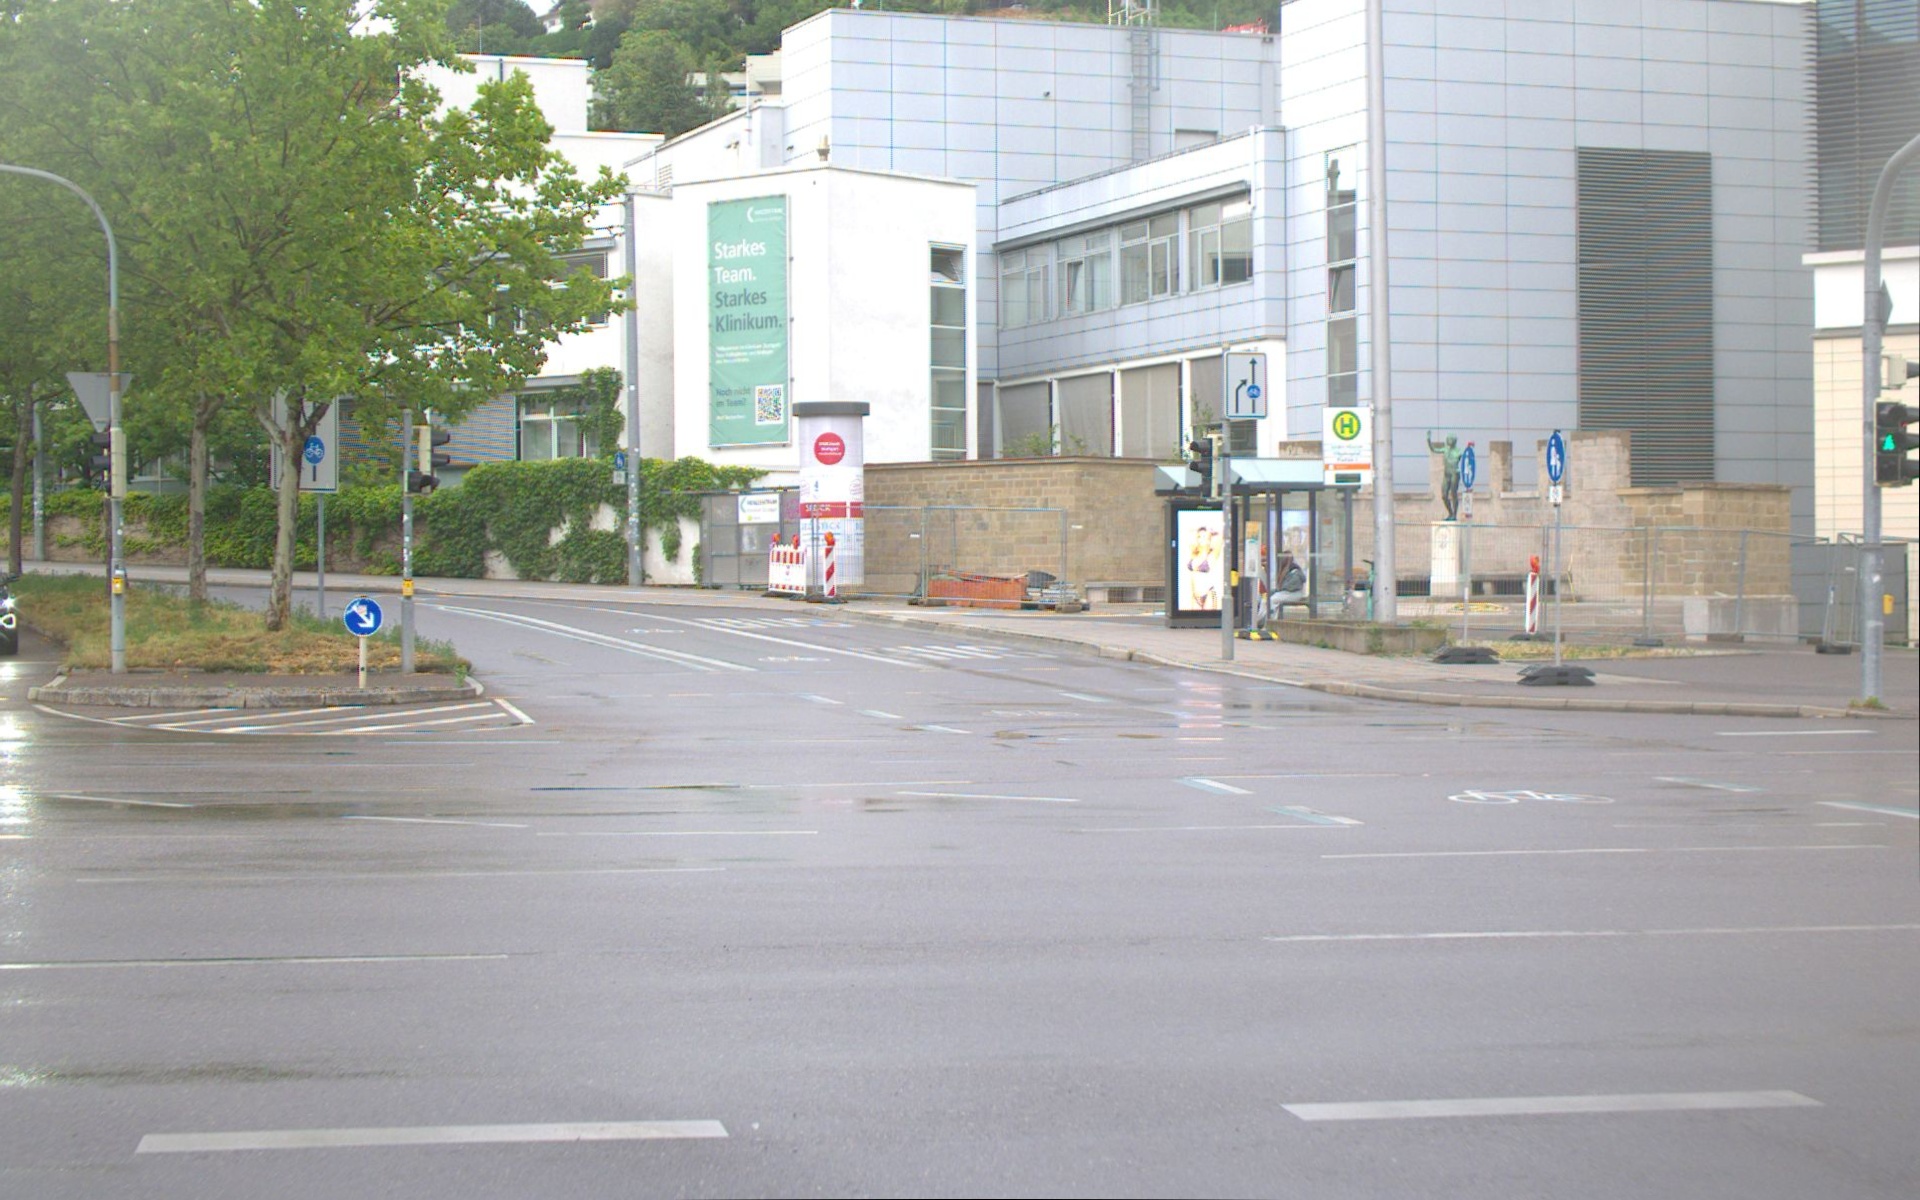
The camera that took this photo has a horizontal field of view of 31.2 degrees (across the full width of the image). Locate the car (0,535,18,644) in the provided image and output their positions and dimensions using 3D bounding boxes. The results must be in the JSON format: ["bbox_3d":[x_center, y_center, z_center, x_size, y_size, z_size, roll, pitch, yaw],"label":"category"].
[{"bbox_3d":[-15.302,-0.187,51.631,1.788,1.579,4.001,0,1,-22],"label":"car"}]

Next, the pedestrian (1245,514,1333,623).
[{"bbox_3d":[5.295,-0.498,55.449,1.257,1.713,1.016,2,-1,-2],"label":"pedestrian"}]
